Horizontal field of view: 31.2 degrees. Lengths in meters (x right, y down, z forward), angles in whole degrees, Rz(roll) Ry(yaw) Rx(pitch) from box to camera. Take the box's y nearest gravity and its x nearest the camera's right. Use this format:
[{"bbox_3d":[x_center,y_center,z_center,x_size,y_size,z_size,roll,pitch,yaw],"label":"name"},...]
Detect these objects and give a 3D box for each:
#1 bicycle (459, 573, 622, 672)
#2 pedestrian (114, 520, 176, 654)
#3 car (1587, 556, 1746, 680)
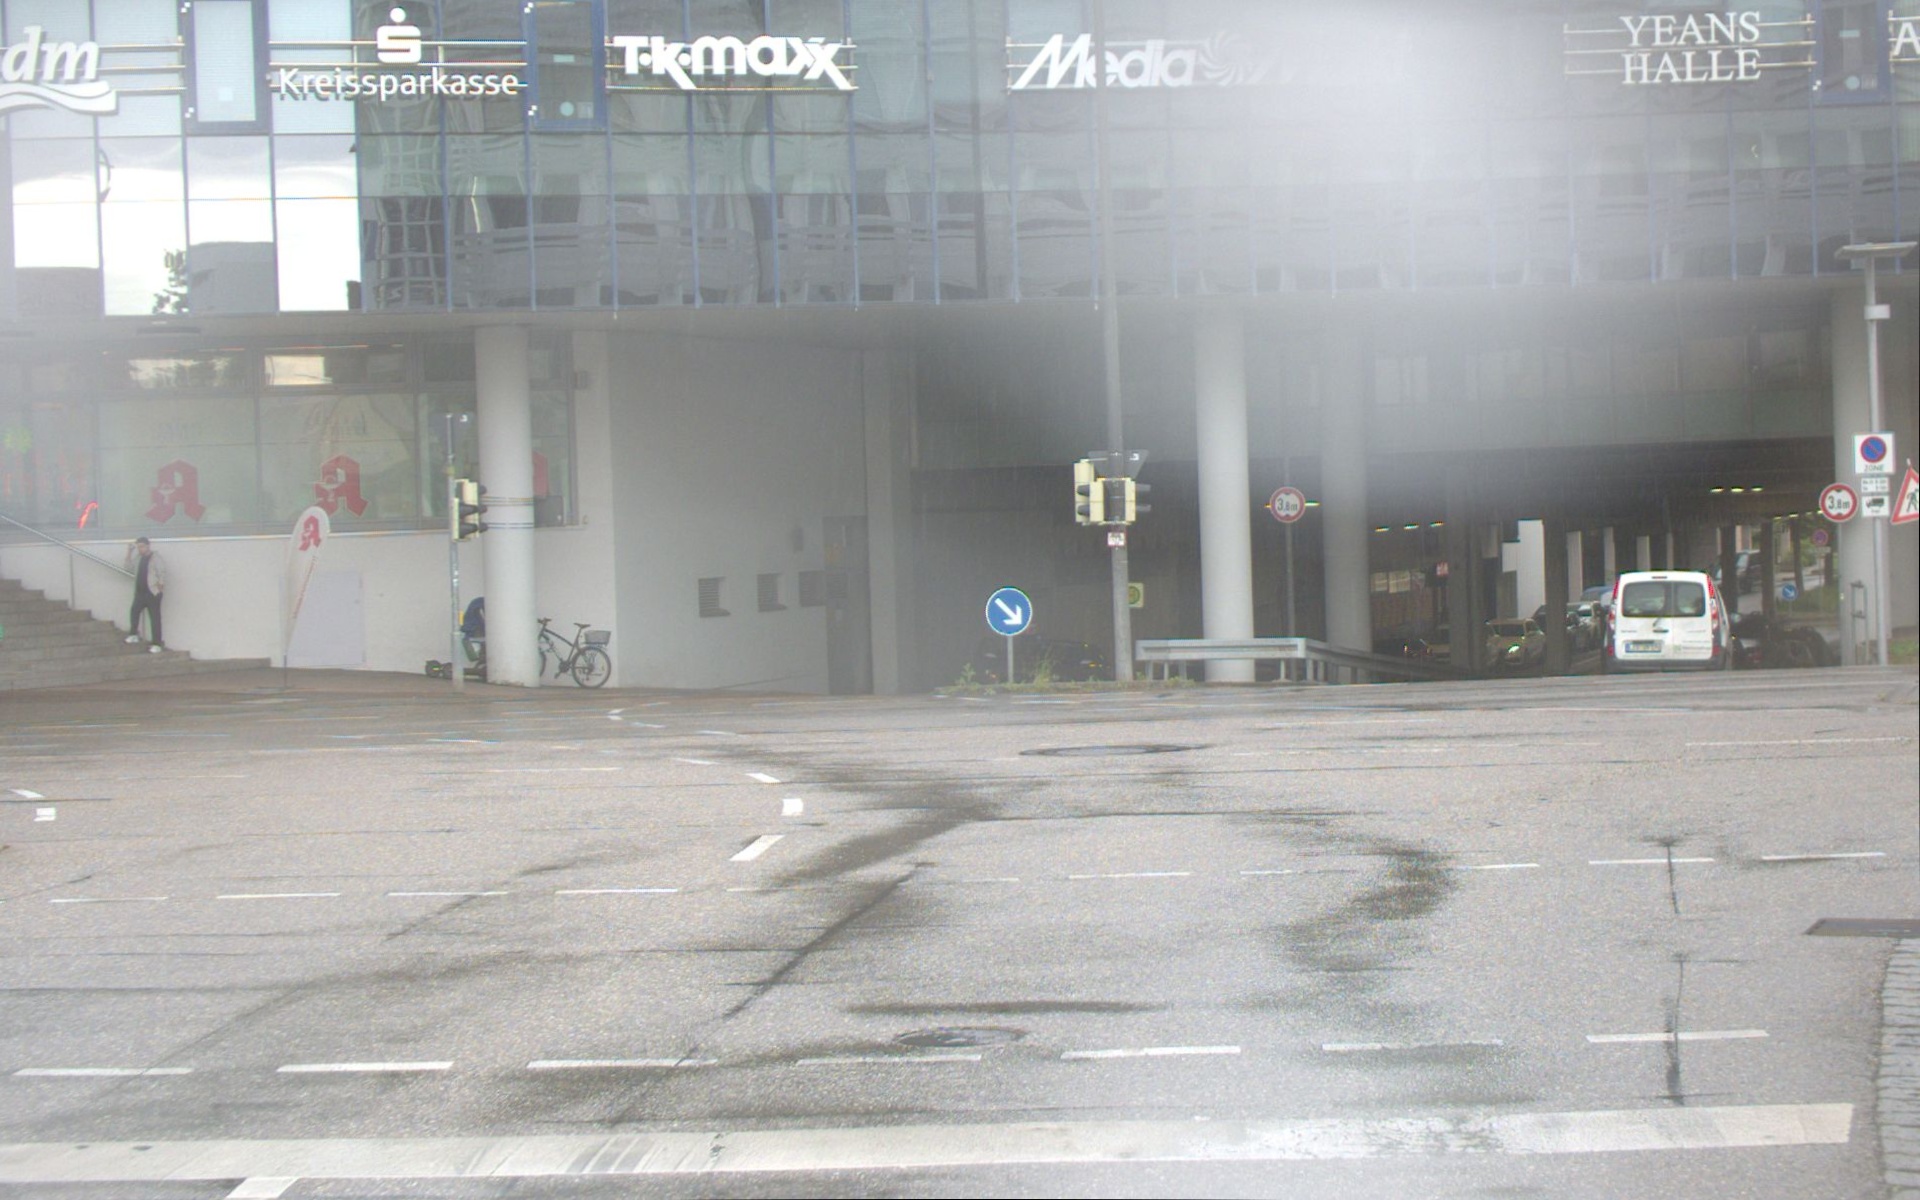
[{"bbox_3d":[-6.541,0.341,53.621,2.423,1.459,0.656,-2,3,-20],"label":"bicycle"},{"bbox_3d":[-12.461,-0.203,52.581,0.787,2.007,0.670,-2,1,-8],"label":"pedestrian"},{"bbox_3d":[10.813,0.245,52.433,1.995,1.711,3.997,-1,1,17],"label":"car"}]
